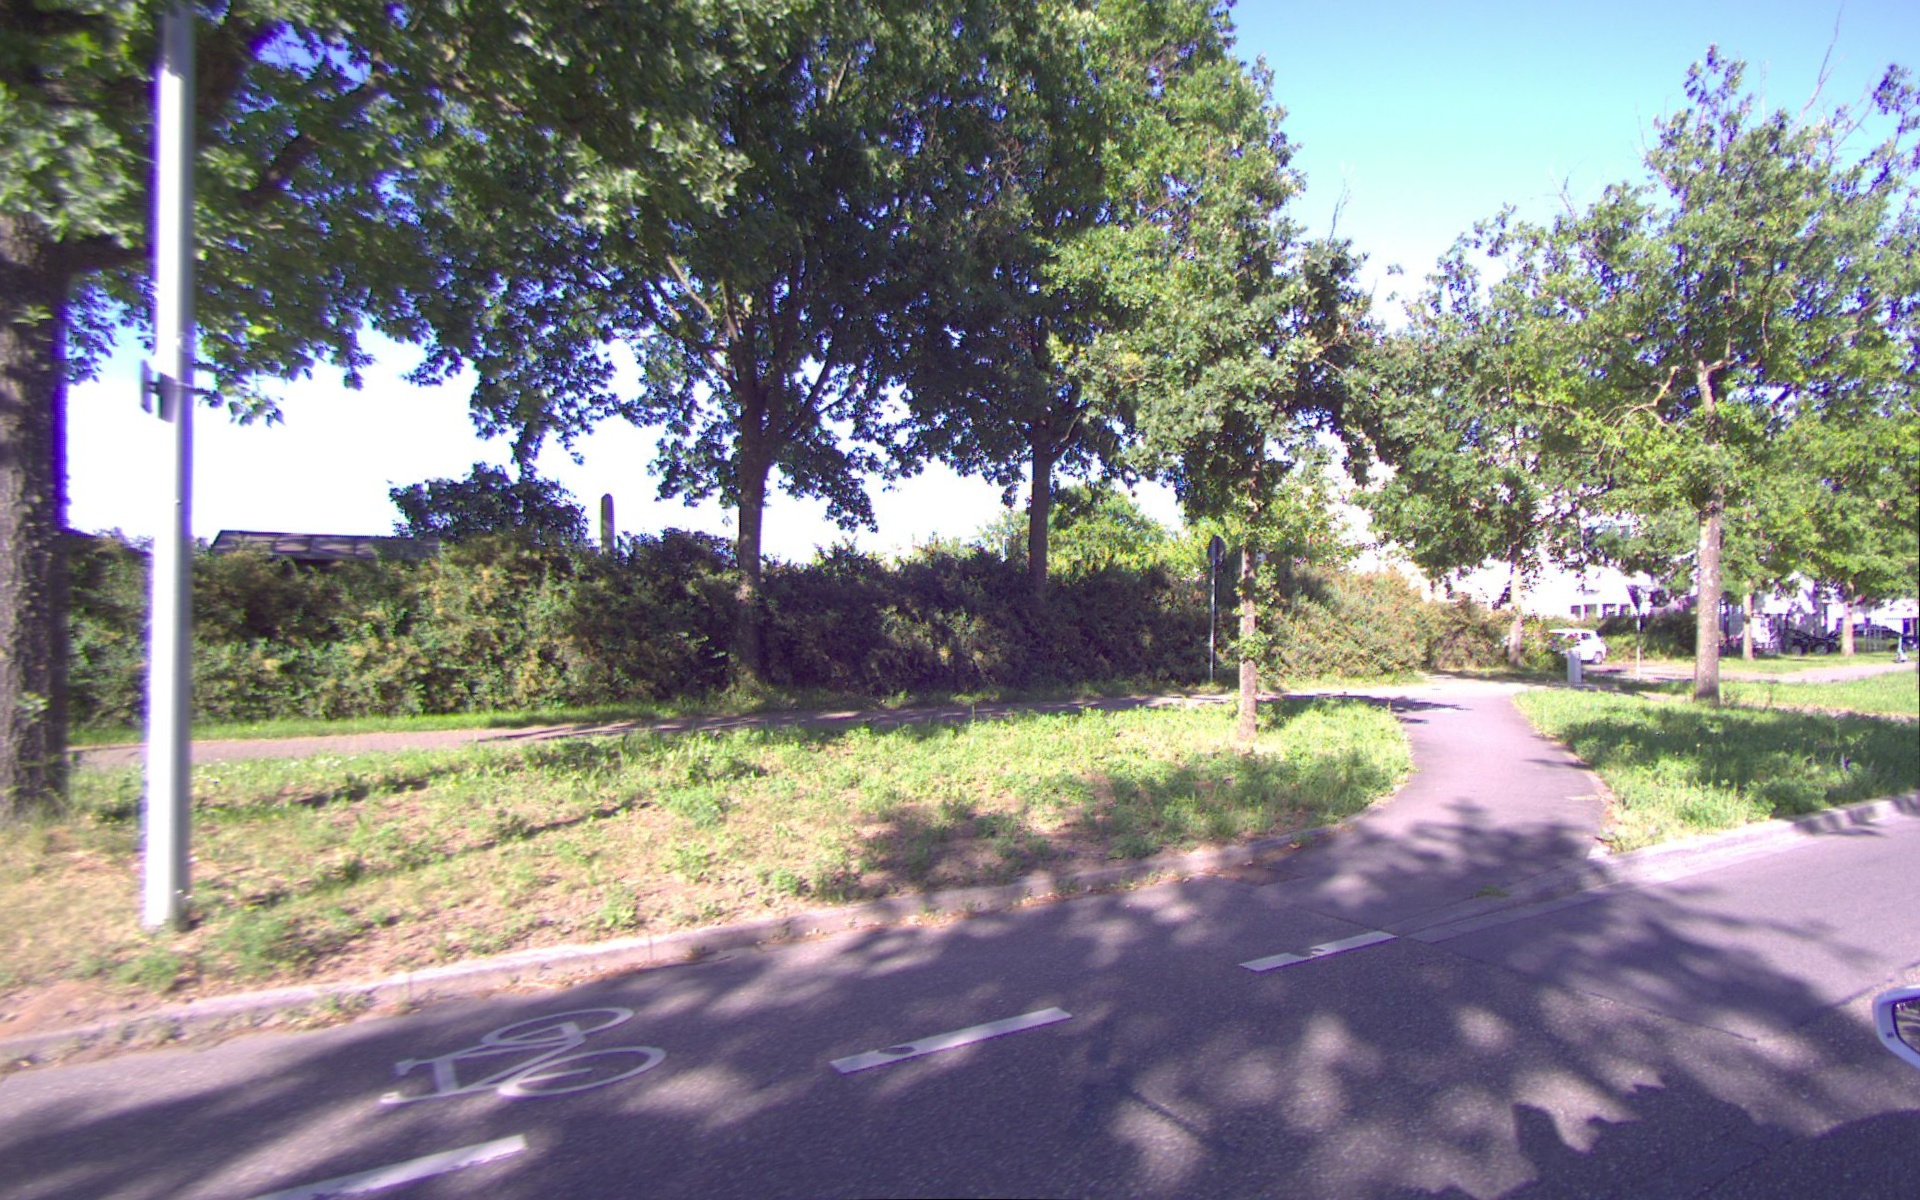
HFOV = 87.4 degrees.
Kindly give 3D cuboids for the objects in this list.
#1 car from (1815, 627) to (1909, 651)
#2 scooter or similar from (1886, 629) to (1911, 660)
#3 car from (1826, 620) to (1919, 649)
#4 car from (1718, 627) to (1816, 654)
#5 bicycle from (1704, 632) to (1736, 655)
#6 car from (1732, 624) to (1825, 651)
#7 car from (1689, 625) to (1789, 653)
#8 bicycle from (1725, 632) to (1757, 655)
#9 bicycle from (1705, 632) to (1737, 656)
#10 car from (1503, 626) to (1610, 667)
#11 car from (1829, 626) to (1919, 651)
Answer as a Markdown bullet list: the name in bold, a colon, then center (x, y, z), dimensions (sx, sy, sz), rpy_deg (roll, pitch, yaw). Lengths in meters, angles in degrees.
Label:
- **car**: center (56.187, 2.413, 62.634), dimensions (3.874, 1.420, 2.001), rpy_deg (0, -1, 17)
- **scooter or similar**: center (39.255, 1.854, 42.019), dimensions (1.425, 1.296, 0.393), rpy_deg (1, -1, -32)
- **car**: center (66.660, 2.518, 73.307), dimensions (4.761, 2.040, 2.001), rpy_deg (0, -1, 17)
- **car**: center (45.578, 2.293, 56.833), dimensions (3.919, 1.467, 1.802), rpy_deg (0, -1, 16)
- **bicycle**: center (37.547, 2.140, 49.629), dimensions (1.870, 1.102, 0.635), rpy_deg (1, -1, -33)
- **car**: center (47.814, 2.180, 58.771), dimensions (3.928, 1.531, 1.798), rpy_deg (-1, 0, 29)
- **car**: center (42.525, 2.129, 54.923), dimensions (3.918, 1.467, 1.802), rpy_deg (0, -1, 11)
- **bicycle**: center (37.803, 2.102, 48.618), dimensions (1.870, 1.102, 0.635), rpy_deg (1, -1, -33)
- **bicycle**: center (36.470, 2.099, 48.135), dimensions (1.870, 1.102, 0.635), rpy_deg (1, -1, -33)
- **car**: center (25.644, 1.968, 43.217), dimensions (3.858, 1.525, 1.991), rpy_deg (-2, 0, -21)
- **car**: center (58.779, 2.423, 64.473), dimensions (4.086, 1.558, 1.897), rpy_deg (0, -1, 17)
